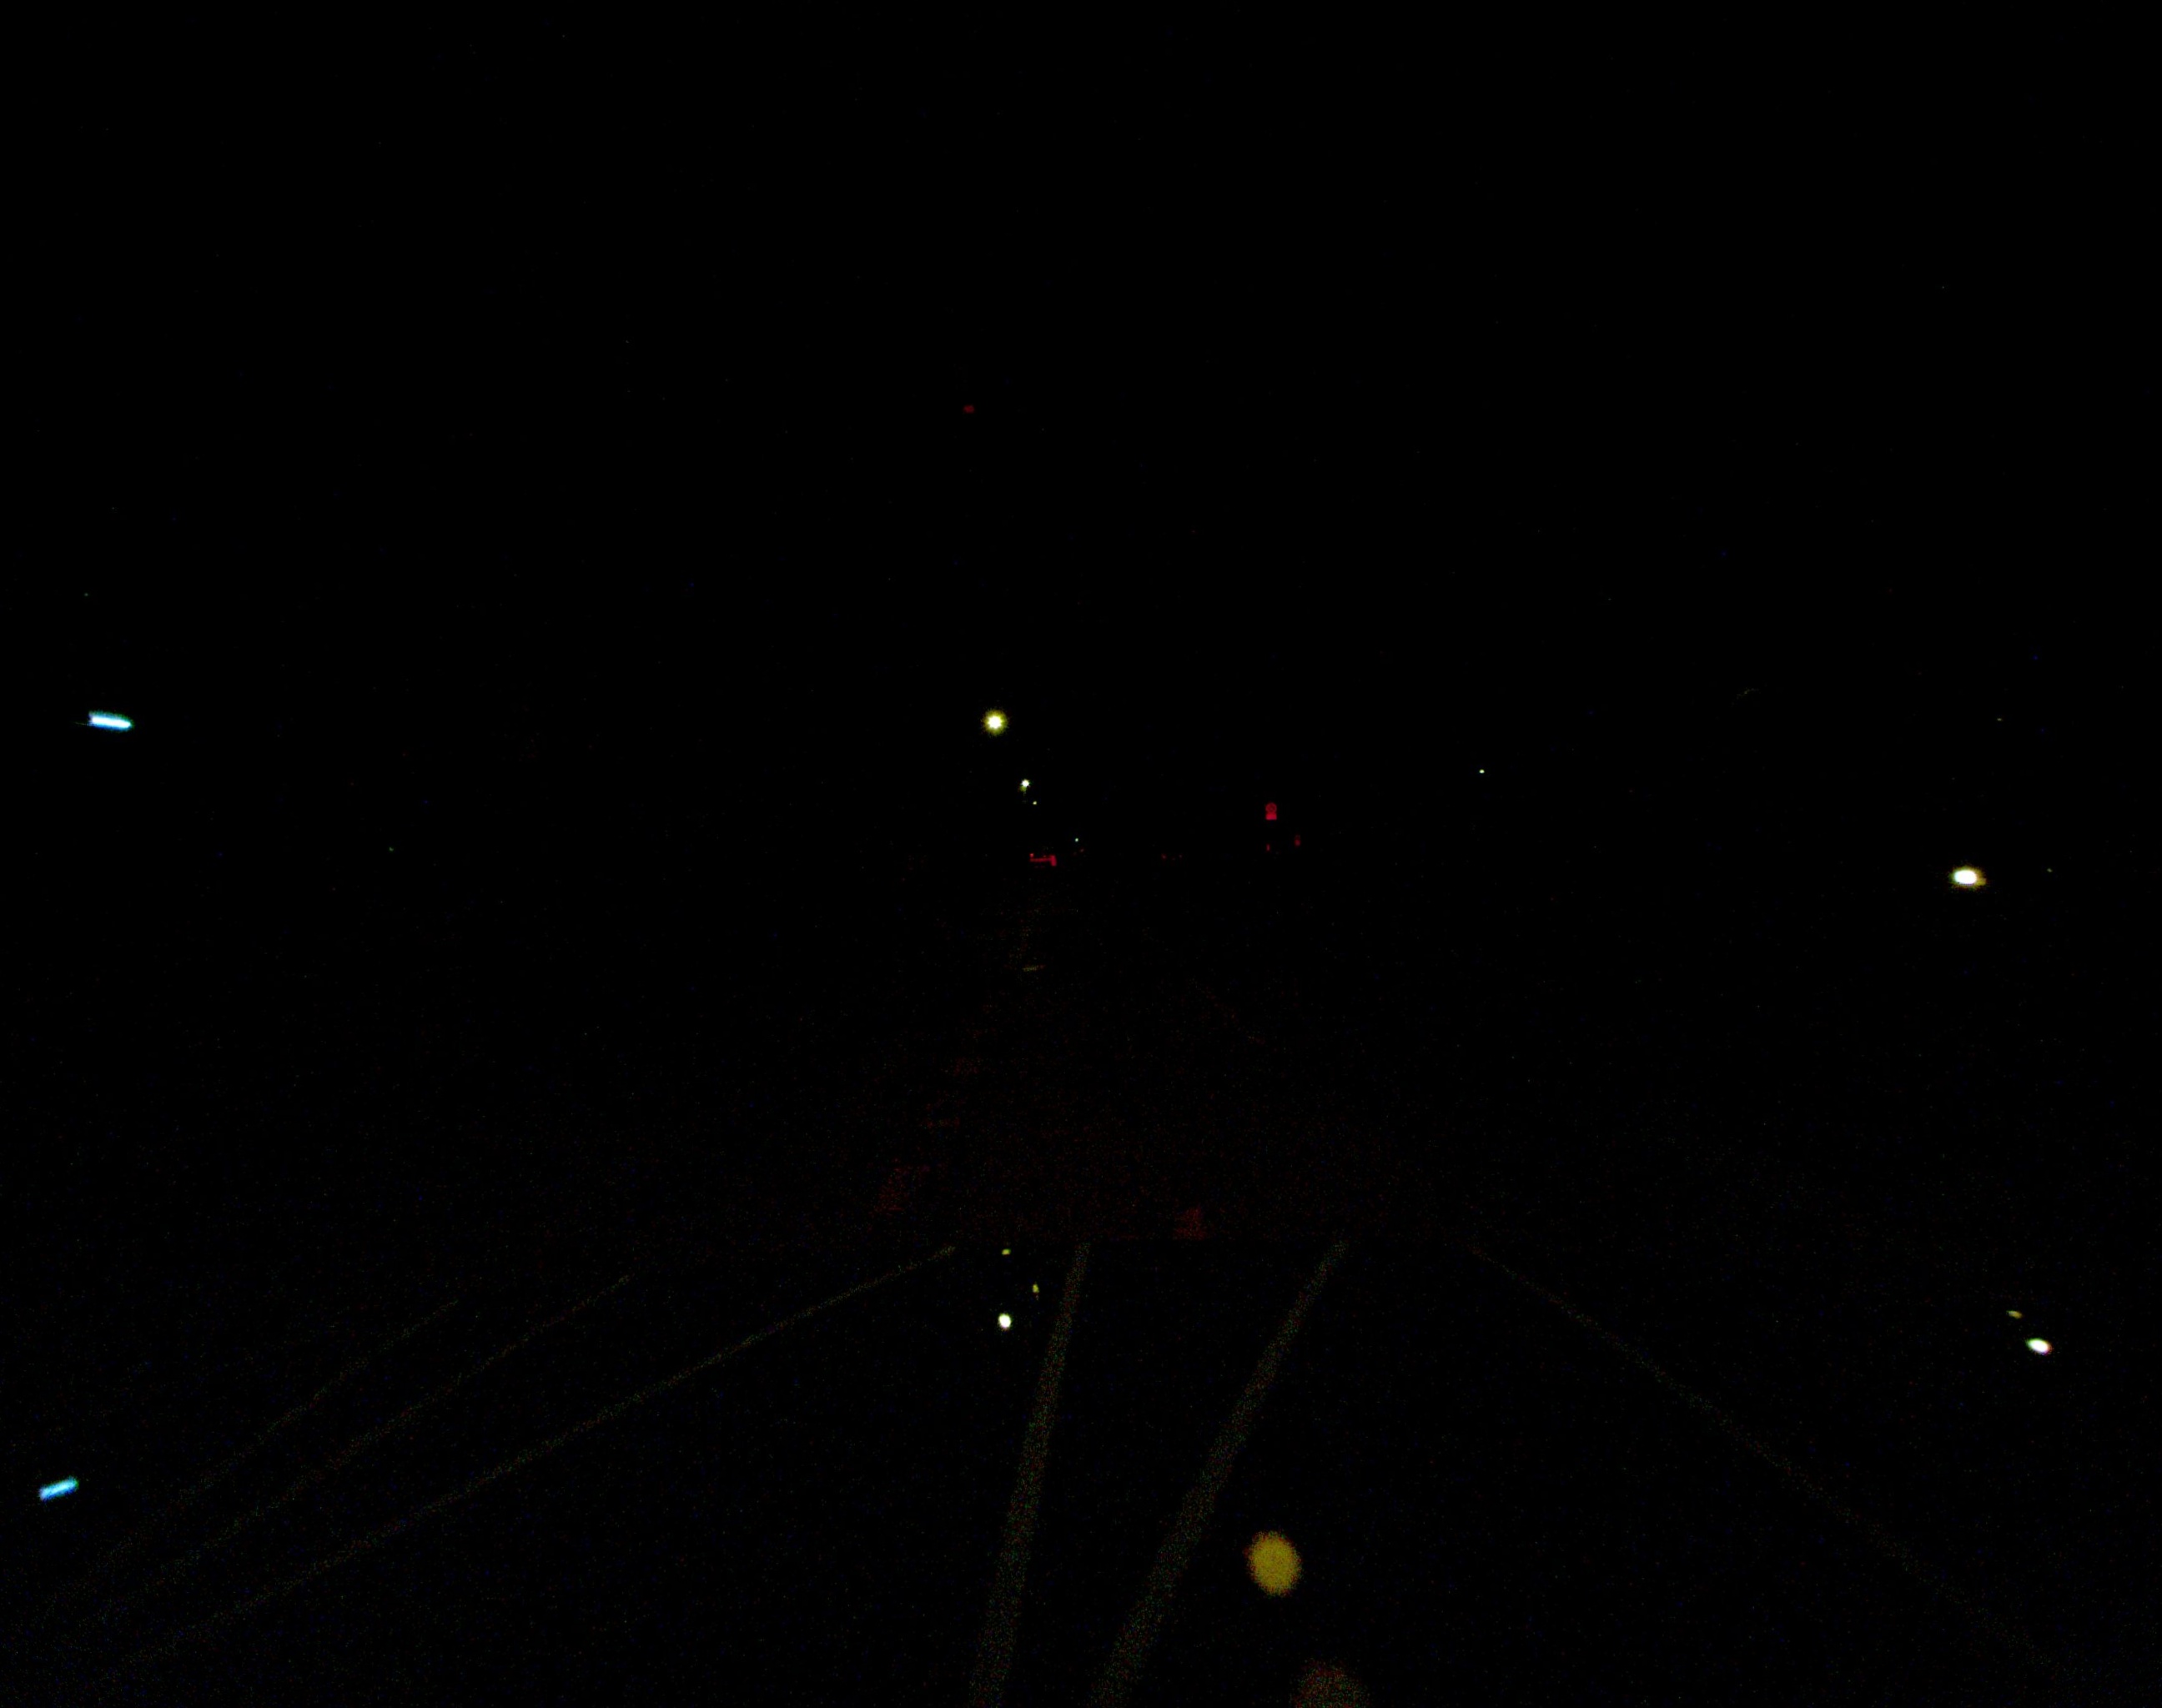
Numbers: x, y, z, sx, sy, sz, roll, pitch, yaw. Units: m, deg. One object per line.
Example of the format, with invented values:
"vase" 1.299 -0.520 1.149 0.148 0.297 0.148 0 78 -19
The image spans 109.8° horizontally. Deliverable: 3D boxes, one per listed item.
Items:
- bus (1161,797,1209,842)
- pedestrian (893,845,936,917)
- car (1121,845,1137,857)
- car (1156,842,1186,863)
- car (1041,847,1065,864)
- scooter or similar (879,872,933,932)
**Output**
"bus" 17.427 -5.691 129.190 6.135 6.898 14.781 -2 1 1
"pedestrian" -4.412 0.696 20.203 0.819 1.854 1.034 -2 1 1
"car" 6.271 -0.419 100.459 1.863 1.484 4.080 -2 1 1
"car" 7.187 -0.148 60.839 1.806 1.583 3.999 -2 1 -1
"car" -2.874 0.138 78.174 1.998 1.638 4.000 1 2 4
"scooter or similar" -3.681 0.995 16.052 0.468 1.195 1.137 -2 0 24
